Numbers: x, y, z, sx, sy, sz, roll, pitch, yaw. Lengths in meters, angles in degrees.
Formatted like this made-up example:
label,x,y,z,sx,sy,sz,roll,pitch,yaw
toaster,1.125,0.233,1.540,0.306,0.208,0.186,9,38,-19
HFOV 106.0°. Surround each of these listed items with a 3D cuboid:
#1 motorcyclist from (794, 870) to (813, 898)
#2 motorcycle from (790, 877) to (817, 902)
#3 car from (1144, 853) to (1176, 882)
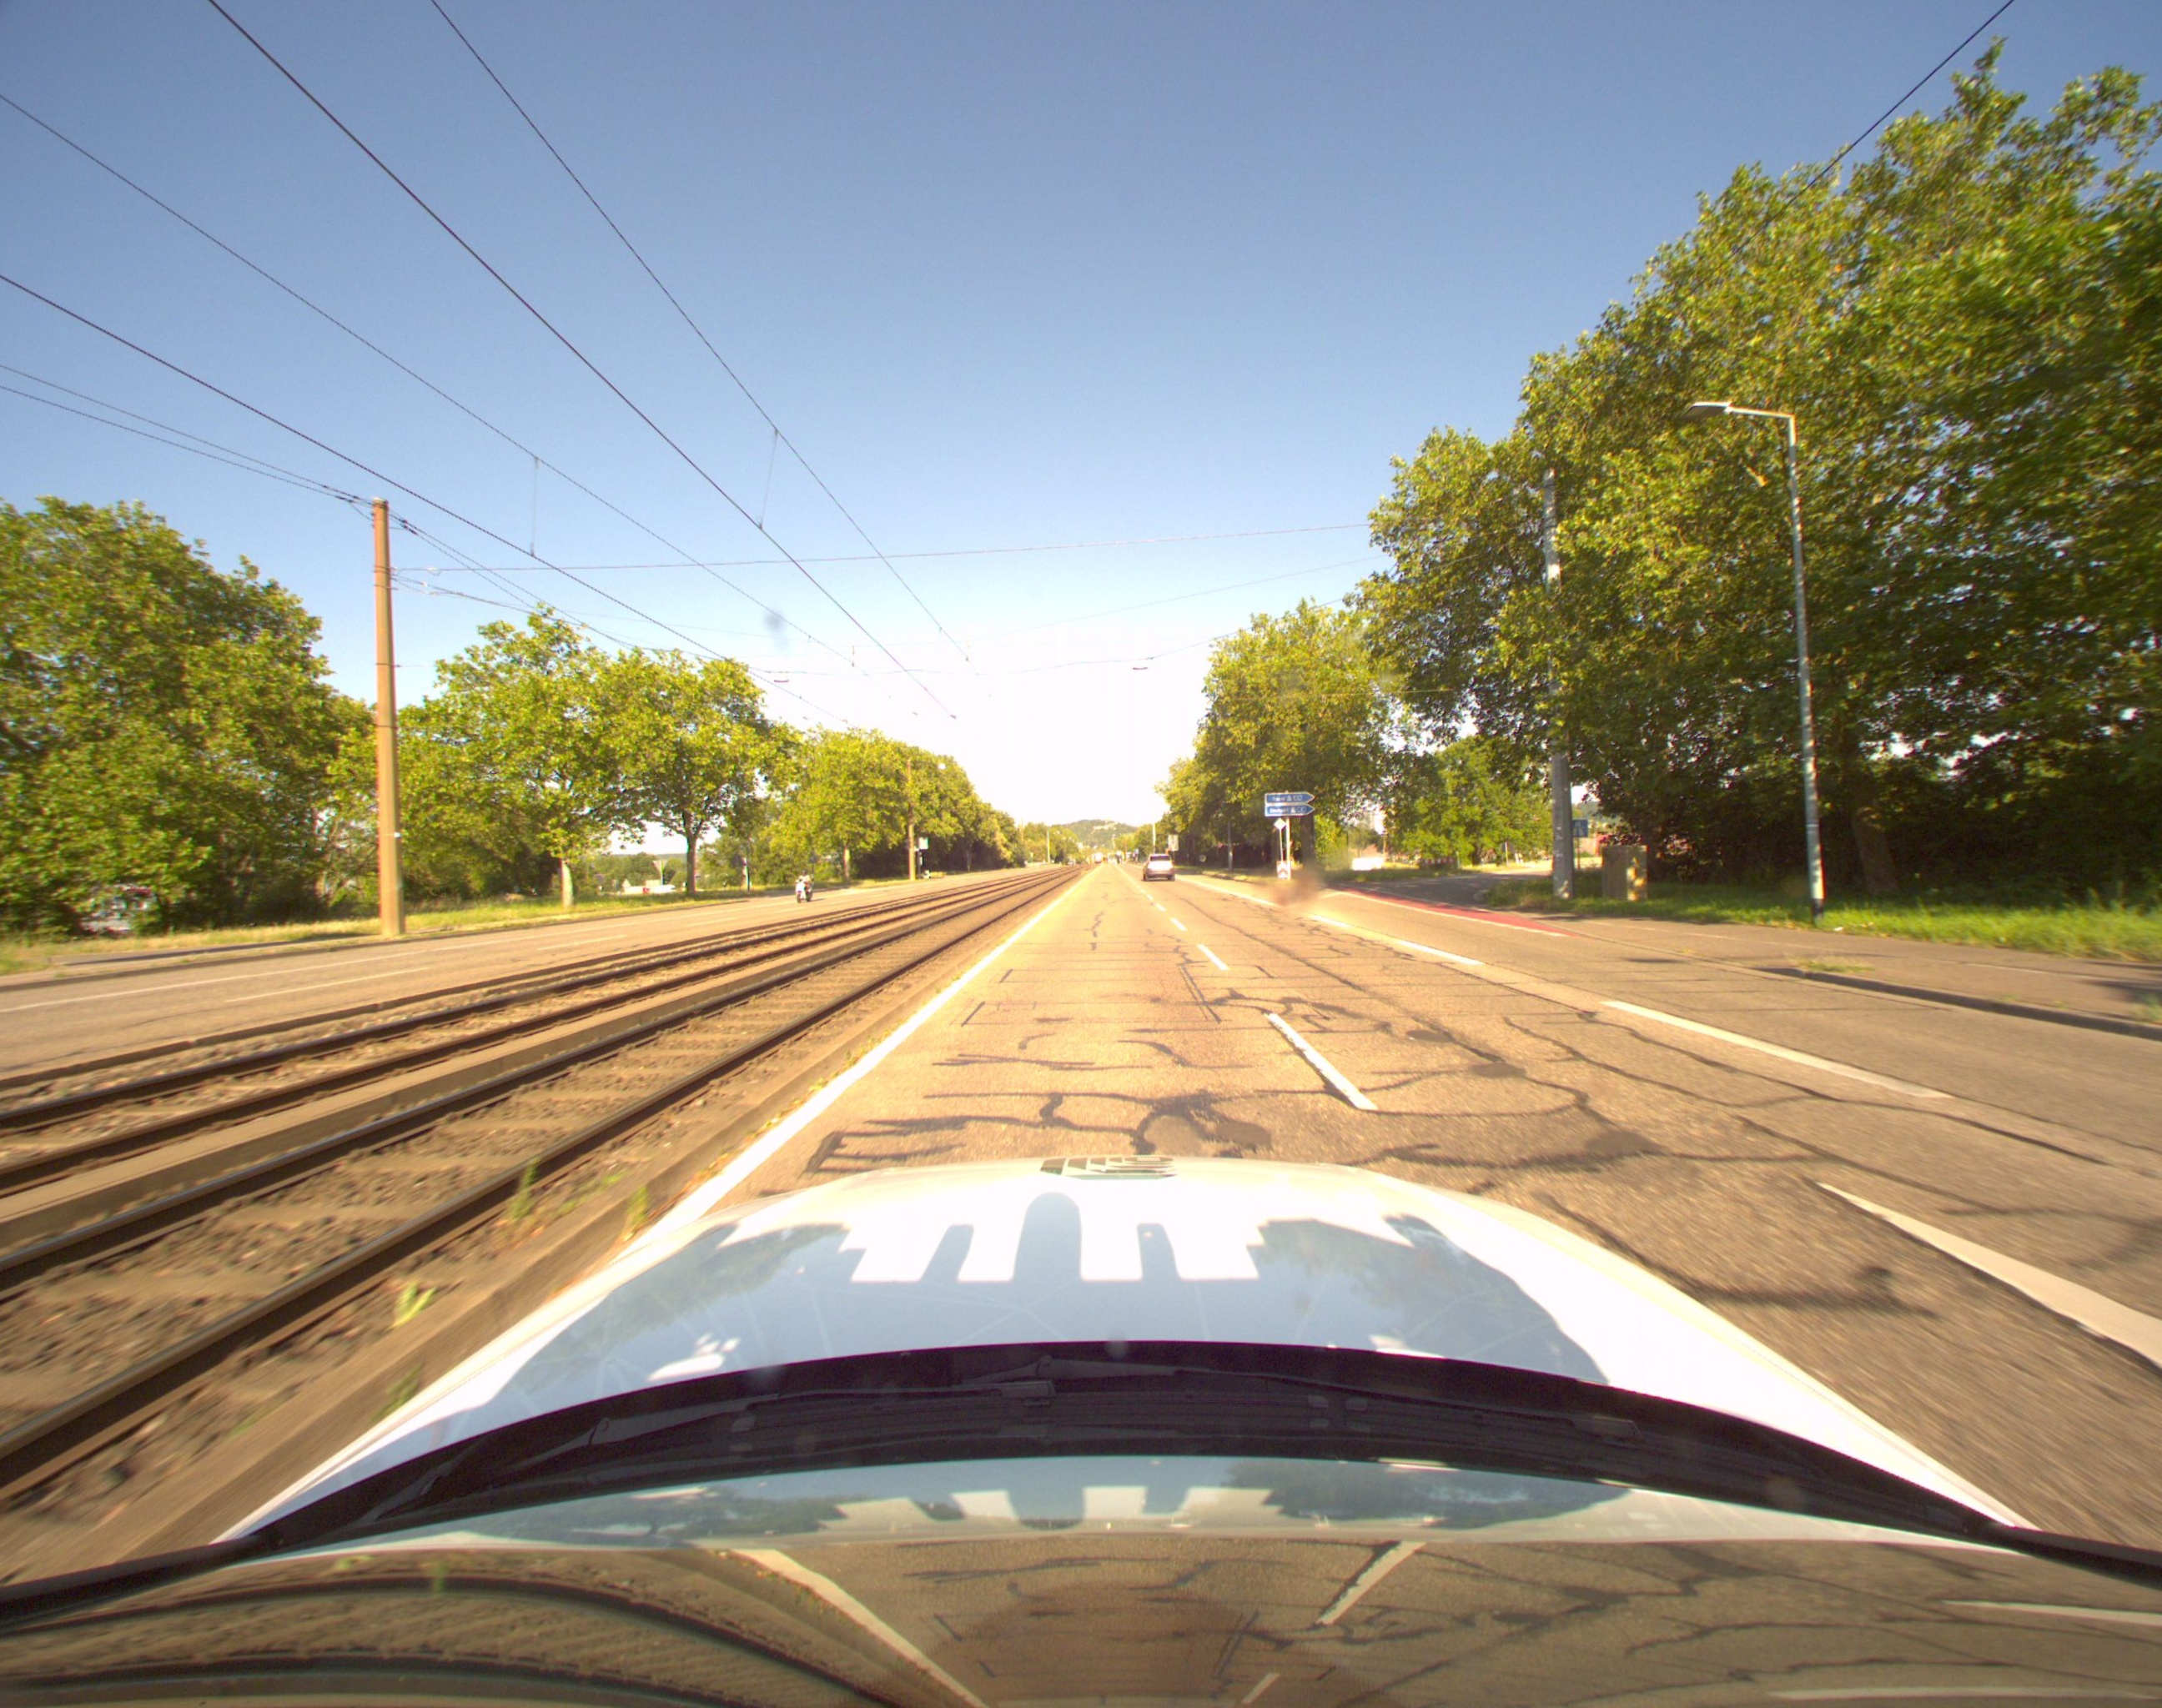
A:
label,x,y,z,sx,sy,sz,roll,pitch,yaw
motorcyclist,-12.878,1.380,37.815,0.534,1.270,0.805,0,-1,2
motorcycle,-12.878,1.628,37.794,0.533,1.091,1.903,0,-1,2
car,4.973,0.841,51.551,1.880,1.693,4.261,-1,-1,4
